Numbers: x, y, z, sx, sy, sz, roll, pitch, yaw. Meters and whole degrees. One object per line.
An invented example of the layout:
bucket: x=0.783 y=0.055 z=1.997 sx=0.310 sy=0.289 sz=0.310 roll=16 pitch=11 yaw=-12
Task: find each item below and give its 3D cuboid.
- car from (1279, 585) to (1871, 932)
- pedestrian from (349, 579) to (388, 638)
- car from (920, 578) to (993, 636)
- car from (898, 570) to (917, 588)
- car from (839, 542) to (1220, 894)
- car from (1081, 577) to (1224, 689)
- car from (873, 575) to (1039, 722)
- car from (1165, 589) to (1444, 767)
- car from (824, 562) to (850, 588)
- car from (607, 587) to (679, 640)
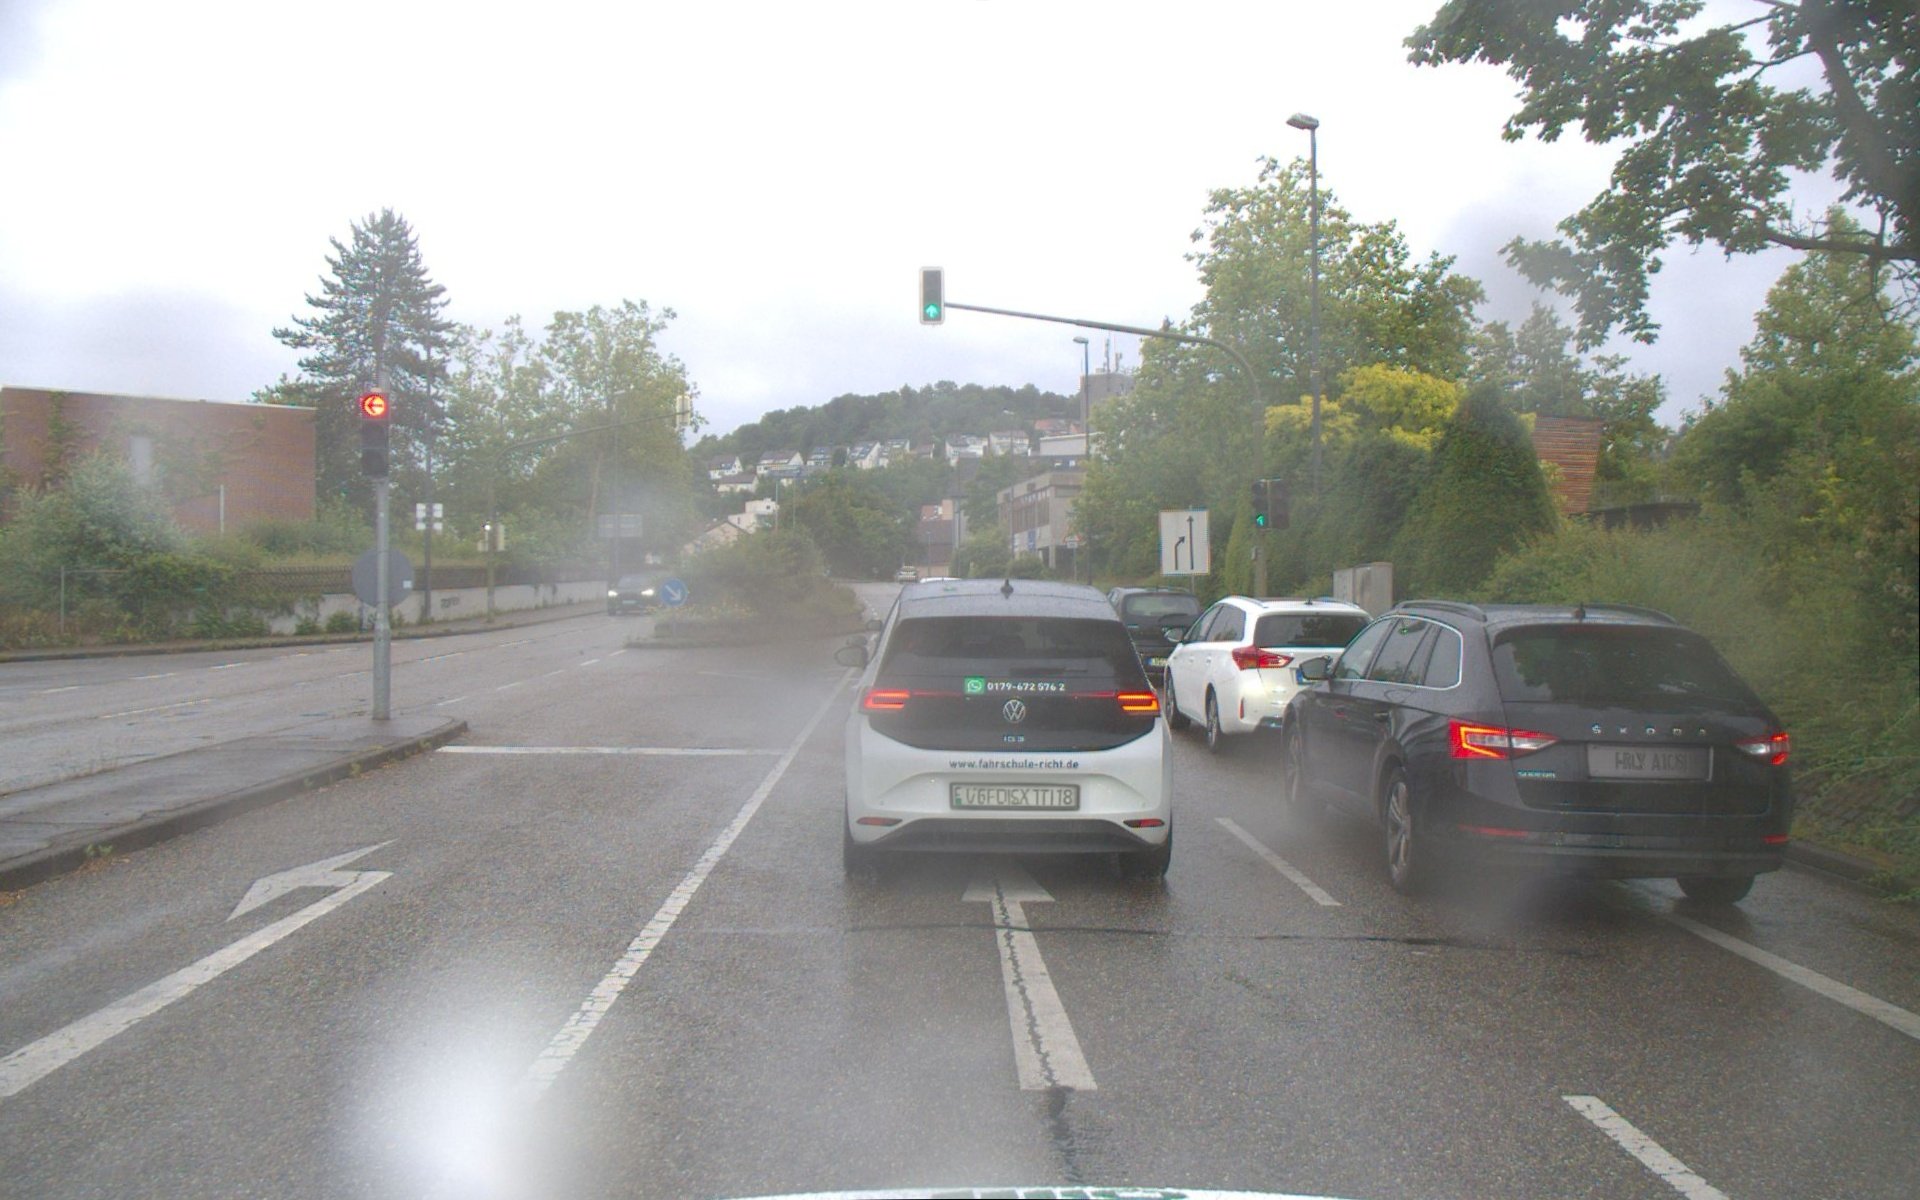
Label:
car: x=3.154 y=0.688 z=9.531 sx=1.800 sy=1.492 sz=4.350 roll=1 pitch=1 yaw=1
pedestrian: x=-16.360 y=0.233 z=45.769 sx=0.744 sy=1.595 sz=0.825 roll=-2 pitch=0 yaw=-2
car: x=-0.140 y=0.148 z=43.693 sx=1.800 sy=1.424 sz=3.830 roll=1 pitch=1 yaw=-1
car: x=-4.551 y=-1.803 z=144.002 sx=1.549 sy=1.492 sz=3.998 roll=-1 pitch=0 yaw=-2
car: x=0.285 y=0.548 z=10.283 sx=1.800 sy=1.657 sz=4.614 roll=1 pitch=1 yaw=-1
car: x=2.975 y=0.487 z=26.319 sx=1.739 sy=1.609 sz=3.999 roll=1 pitch=0 yaw=-1
car: x=-0.089 y=0.514 z=20.354 sx=1.800 sy=1.582 sz=4.174 roll=1 pitch=1 yaw=-1
car: x=3.252 y=0.665 z=16.442 sx=1.800 sy=1.492 sz=4.116 roll=1 pitch=1 yaw=-1
car: x=-10.380 y=-2.080 z=140.050 sx=1.953 sy=2.049 sz=3.999 roll=1 pitch=-1 yaw=-1
car: x=-12.010 y=0.486 z=62.900 sx=1.953 sy=1.836 sz=3.999 roll=-3 pitch=0 yaw=-1
